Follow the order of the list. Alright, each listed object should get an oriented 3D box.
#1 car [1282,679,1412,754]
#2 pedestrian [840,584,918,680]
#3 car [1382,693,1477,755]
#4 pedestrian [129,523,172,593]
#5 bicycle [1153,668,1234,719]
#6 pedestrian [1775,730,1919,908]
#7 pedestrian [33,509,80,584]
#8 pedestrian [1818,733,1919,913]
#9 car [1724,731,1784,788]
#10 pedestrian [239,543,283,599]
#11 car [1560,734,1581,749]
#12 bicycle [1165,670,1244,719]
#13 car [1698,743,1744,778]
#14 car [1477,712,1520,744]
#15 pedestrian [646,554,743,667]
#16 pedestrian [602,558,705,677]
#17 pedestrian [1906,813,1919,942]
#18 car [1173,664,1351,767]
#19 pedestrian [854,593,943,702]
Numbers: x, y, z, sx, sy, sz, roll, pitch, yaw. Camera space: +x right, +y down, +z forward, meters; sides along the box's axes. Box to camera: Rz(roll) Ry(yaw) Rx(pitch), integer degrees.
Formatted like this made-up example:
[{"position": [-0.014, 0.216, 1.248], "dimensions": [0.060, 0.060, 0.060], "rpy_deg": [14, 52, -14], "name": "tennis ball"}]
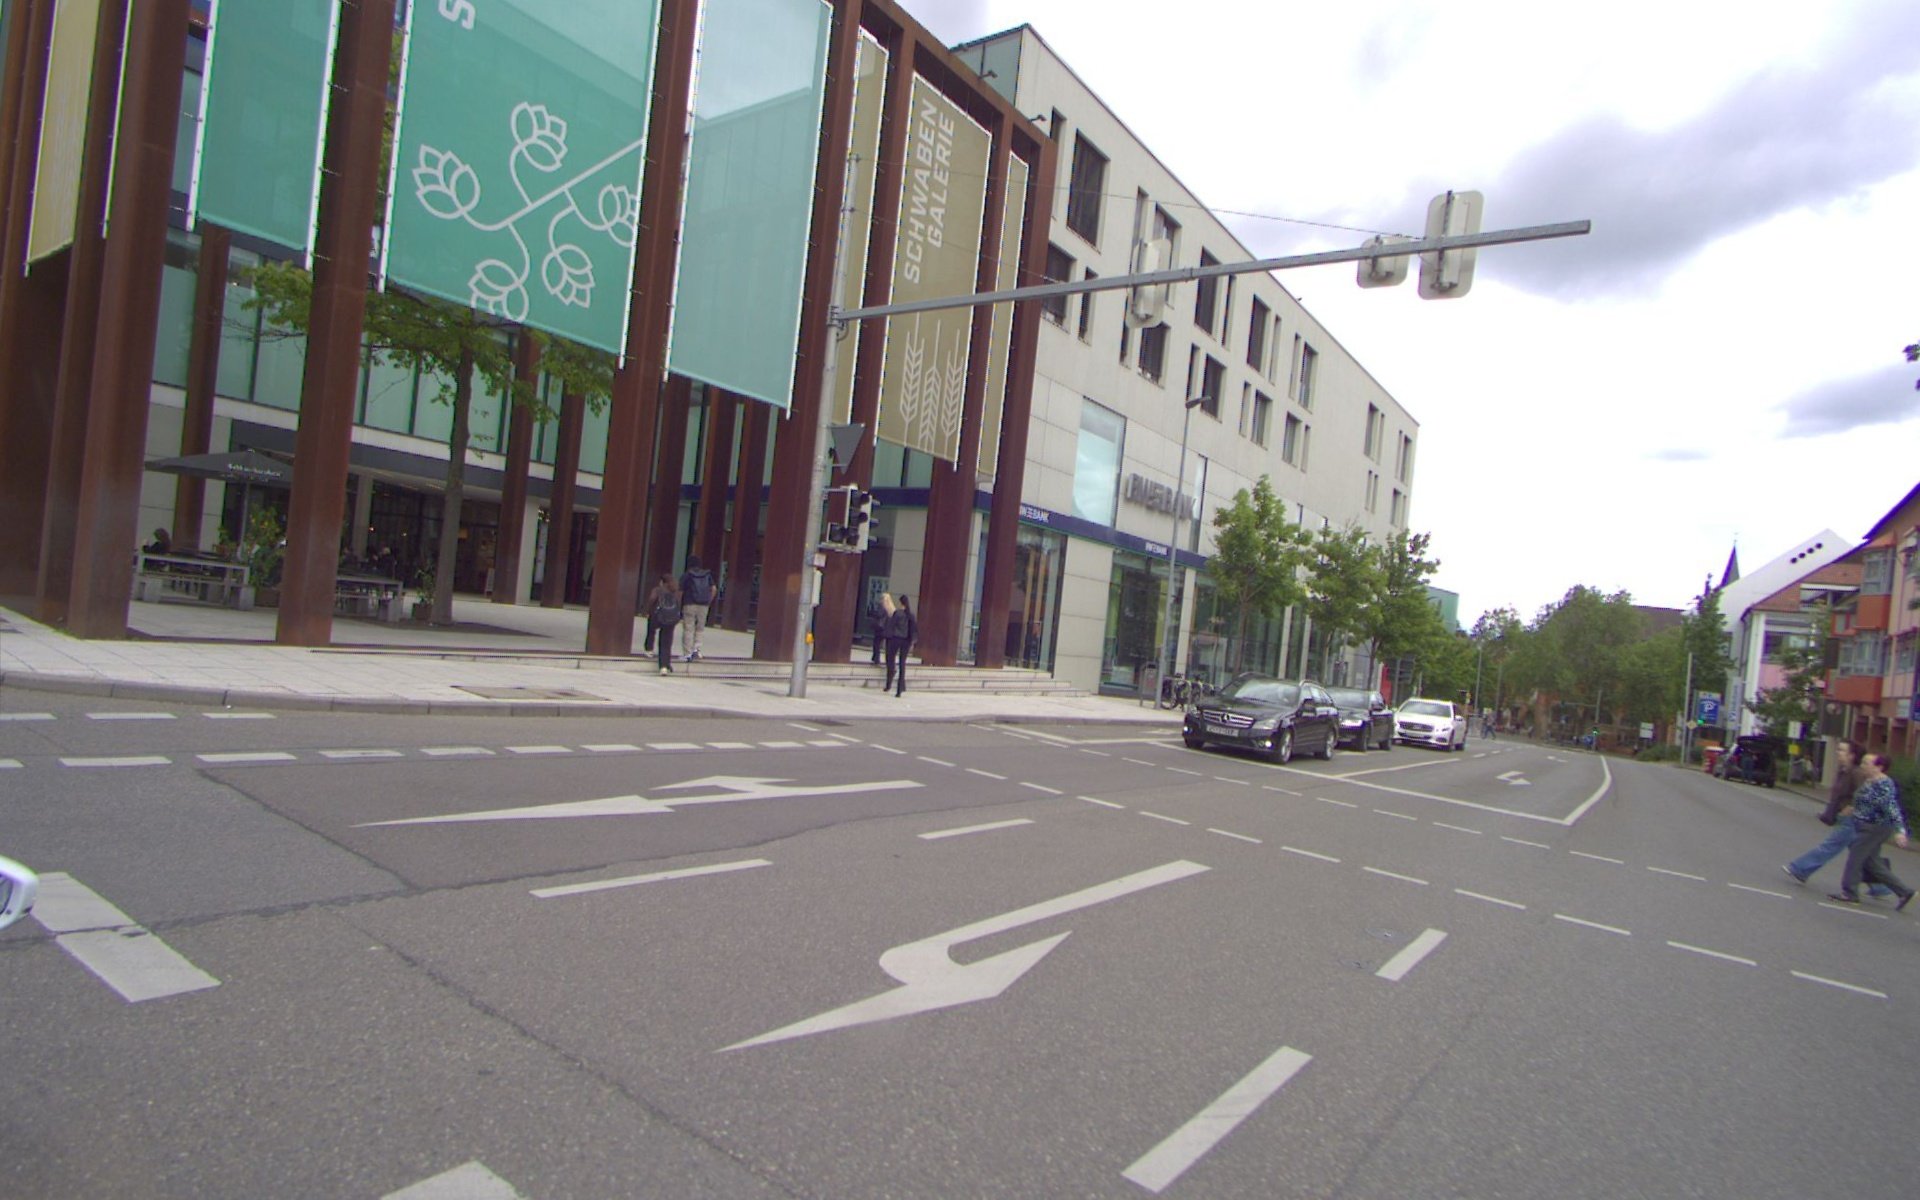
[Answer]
[{"position": [9.508, 2.835, 24.508], "dimensions": [1.773, 1.420, 4.538], "rpy_deg": [7, -2, 36], "name": "car"}, {"position": [-1.634, 0.656, 20.351], "dimensions": [1.103, 1.789, 0.879], "rpy_deg": [7, 0, 35], "name": "pedestrian"}, {"position": [14.435, 3.772, 30.790], "dimensions": [1.772, 1.505, 4.562], "rpy_deg": [7, -2, 35], "name": "car"}, {"position": [-15.106, -0.781, 18.772], "dimensions": [0.598, 1.235, 0.447], "rpy_deg": [7, 0, 42], "name": "pedestrian"}, {"position": [6.431, 2.569, 27.807], "dimensions": [1.962, 1.115, 0.718], "rpy_deg": [6, 0, 37], "name": "bicycle"}, {"position": [9.496, 2.276, 10.719], "dimensions": [1.042, 1.603, 0.830], "rpy_deg": [7, 0, 34], "name": "pedestrian"}, {"position": [-15.953, -0.945, 17.762], "dimensions": [0.598, 1.235, 0.447], "rpy_deg": [7, 0, 40], "name": "pedestrian"}, {"position": [9.172, 2.169, 9.858], "dimensions": [0.954, 1.577, 0.830], "rpy_deg": [7, 0, 37], "name": "pedestrian"}, {"position": [34.277, 6.876, 43.502], "dimensions": [1.699, 2.036, 3.732], "rpy_deg": [8, -2, 37], "name": "car"}, {"position": [-16.616, -0.688, 23.915], "dimensions": [0.783, 1.223, 0.515], "rpy_deg": [8, 1, 36], "name": "pedestrian"}, {"position": [77.499, 17.982, 127.675], "dimensions": [1.699, 1.617, 3.732], "rpy_deg": [8, -2, 37], "name": "car"}, {"position": [6.962, 2.680, 28.639], "dimensions": [1.962, 1.115, 0.718], "rpy_deg": [6, 0, 37], "name": "bicycle"}, {"position": [39.089, 8.254, 51.722], "dimensions": [1.699, 1.410, 3.732], "rpy_deg": [8, -2, 37], "name": "car"}, {"position": [34.022, 8.082, 63.554], "dimensions": [1.772, 1.673, 4.450], "rpy_deg": [7, -2, 35], "name": "car"}, {"position": [-4.359, 0.176, 16.552], "dimensions": [1.103, 1.702, 0.879], "rpy_deg": [7, 0, 35], "name": "pedestrian"}, {"position": [-4.784, 0.273, 15.702], "dimensions": [1.103, 1.702, 0.879], "rpy_deg": [7, 0, 35], "name": "pedestrian"}, {"position": [8.395, 1.975, 7.927], "dimensions": [1.093, 1.736, 1.056], "rpy_deg": [7, 0, 37], "name": "pedestrian"}, {"position": [5.578, 2.076, 18.226], "dimensions": [1.772, 1.420, 4.177], "rpy_deg": [7, -2, 35], "name": "car"}, {"position": [-1.095, 0.845, 17.966], "dimensions": [1.103, 1.789, 0.879], "rpy_deg": [7, 0, 35], "name": "pedestrian"}]
